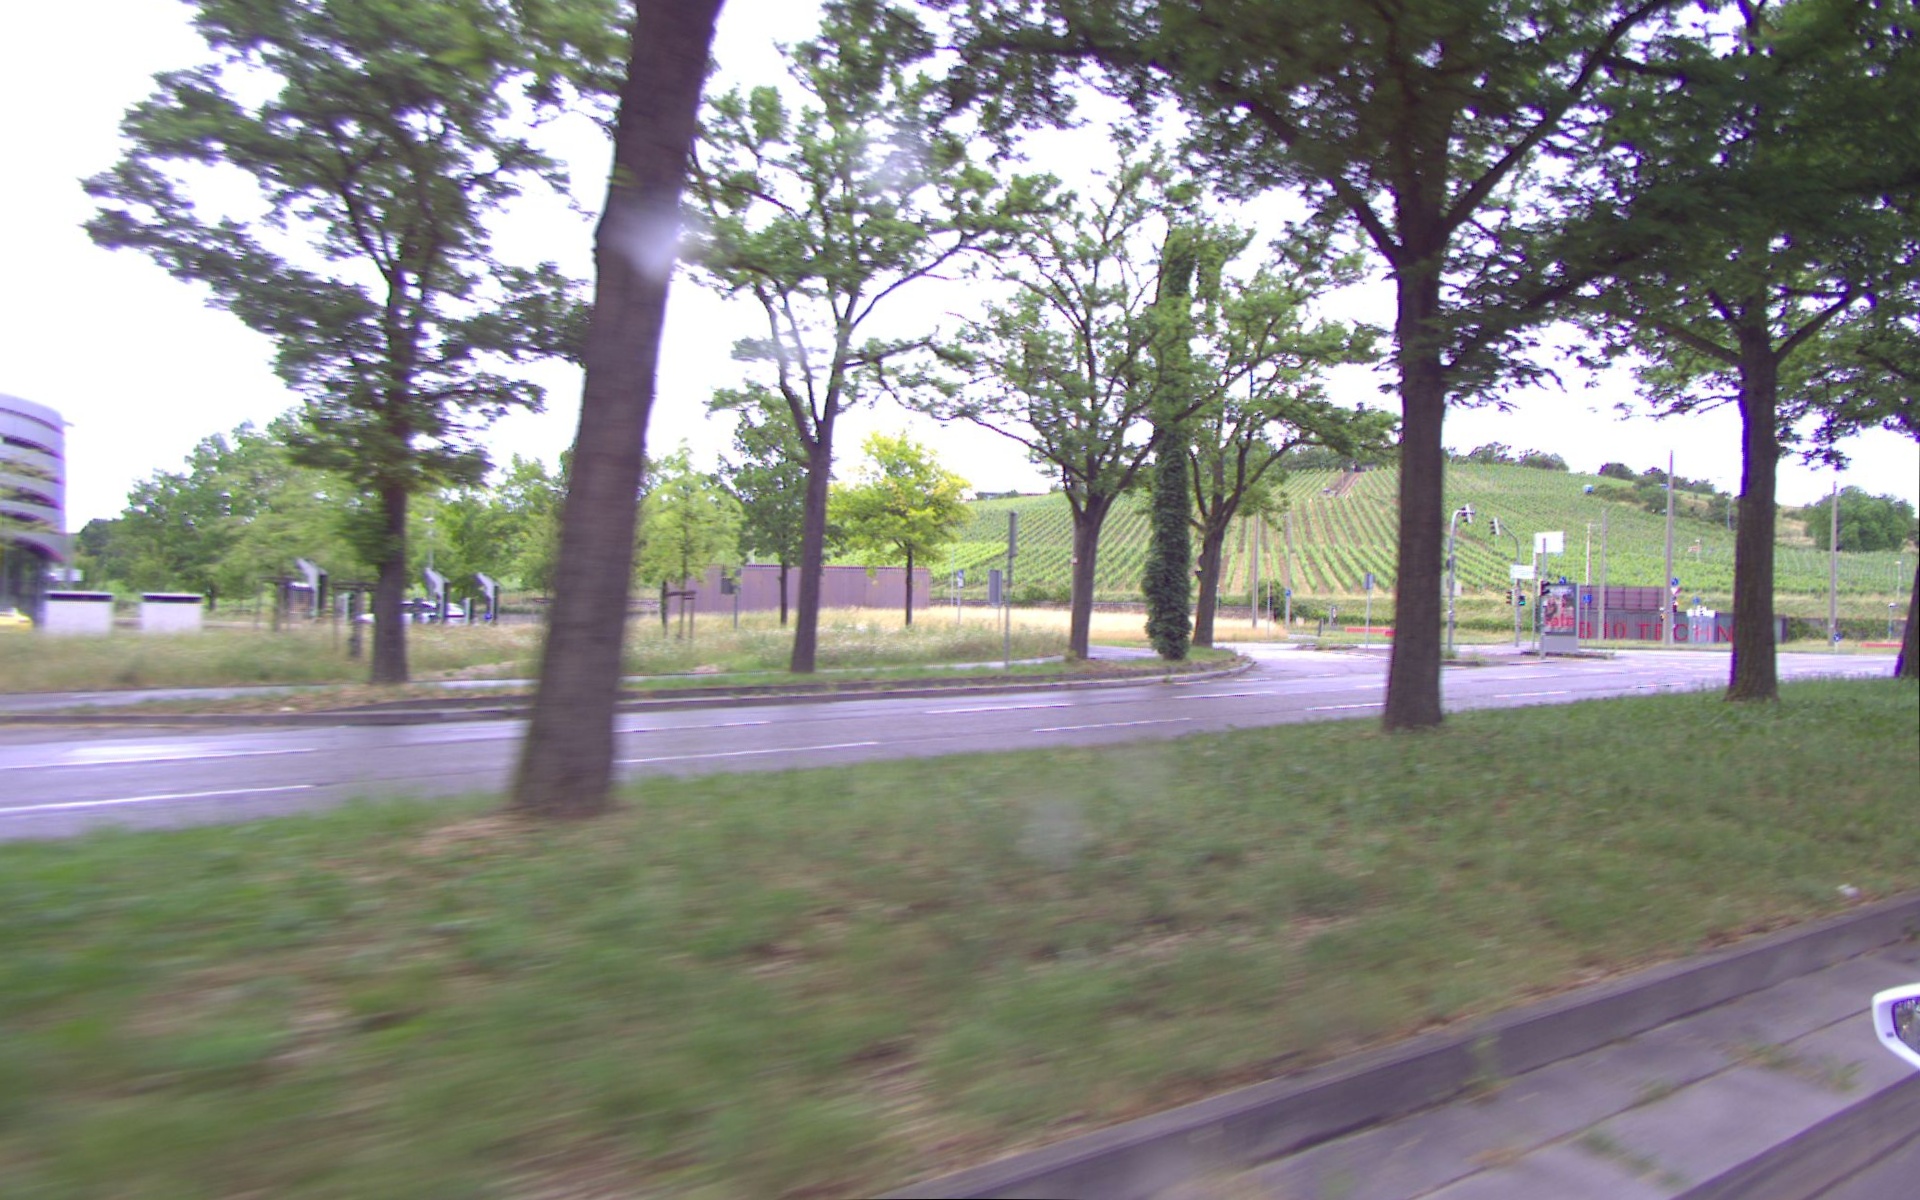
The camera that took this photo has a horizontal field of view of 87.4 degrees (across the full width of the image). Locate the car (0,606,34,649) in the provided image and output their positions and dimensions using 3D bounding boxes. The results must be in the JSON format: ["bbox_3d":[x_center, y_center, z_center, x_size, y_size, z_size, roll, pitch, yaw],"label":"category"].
[{"bbox_3d":[-34.722,0.952,35.972,3.936,1.341,1.614,3,1,37],"label":"car"}]

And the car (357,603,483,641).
[{"bbox_3d":[-20.673,0.832,38.578,3.927,1.261,1.617,2,1,-9],"label":"car"}]
